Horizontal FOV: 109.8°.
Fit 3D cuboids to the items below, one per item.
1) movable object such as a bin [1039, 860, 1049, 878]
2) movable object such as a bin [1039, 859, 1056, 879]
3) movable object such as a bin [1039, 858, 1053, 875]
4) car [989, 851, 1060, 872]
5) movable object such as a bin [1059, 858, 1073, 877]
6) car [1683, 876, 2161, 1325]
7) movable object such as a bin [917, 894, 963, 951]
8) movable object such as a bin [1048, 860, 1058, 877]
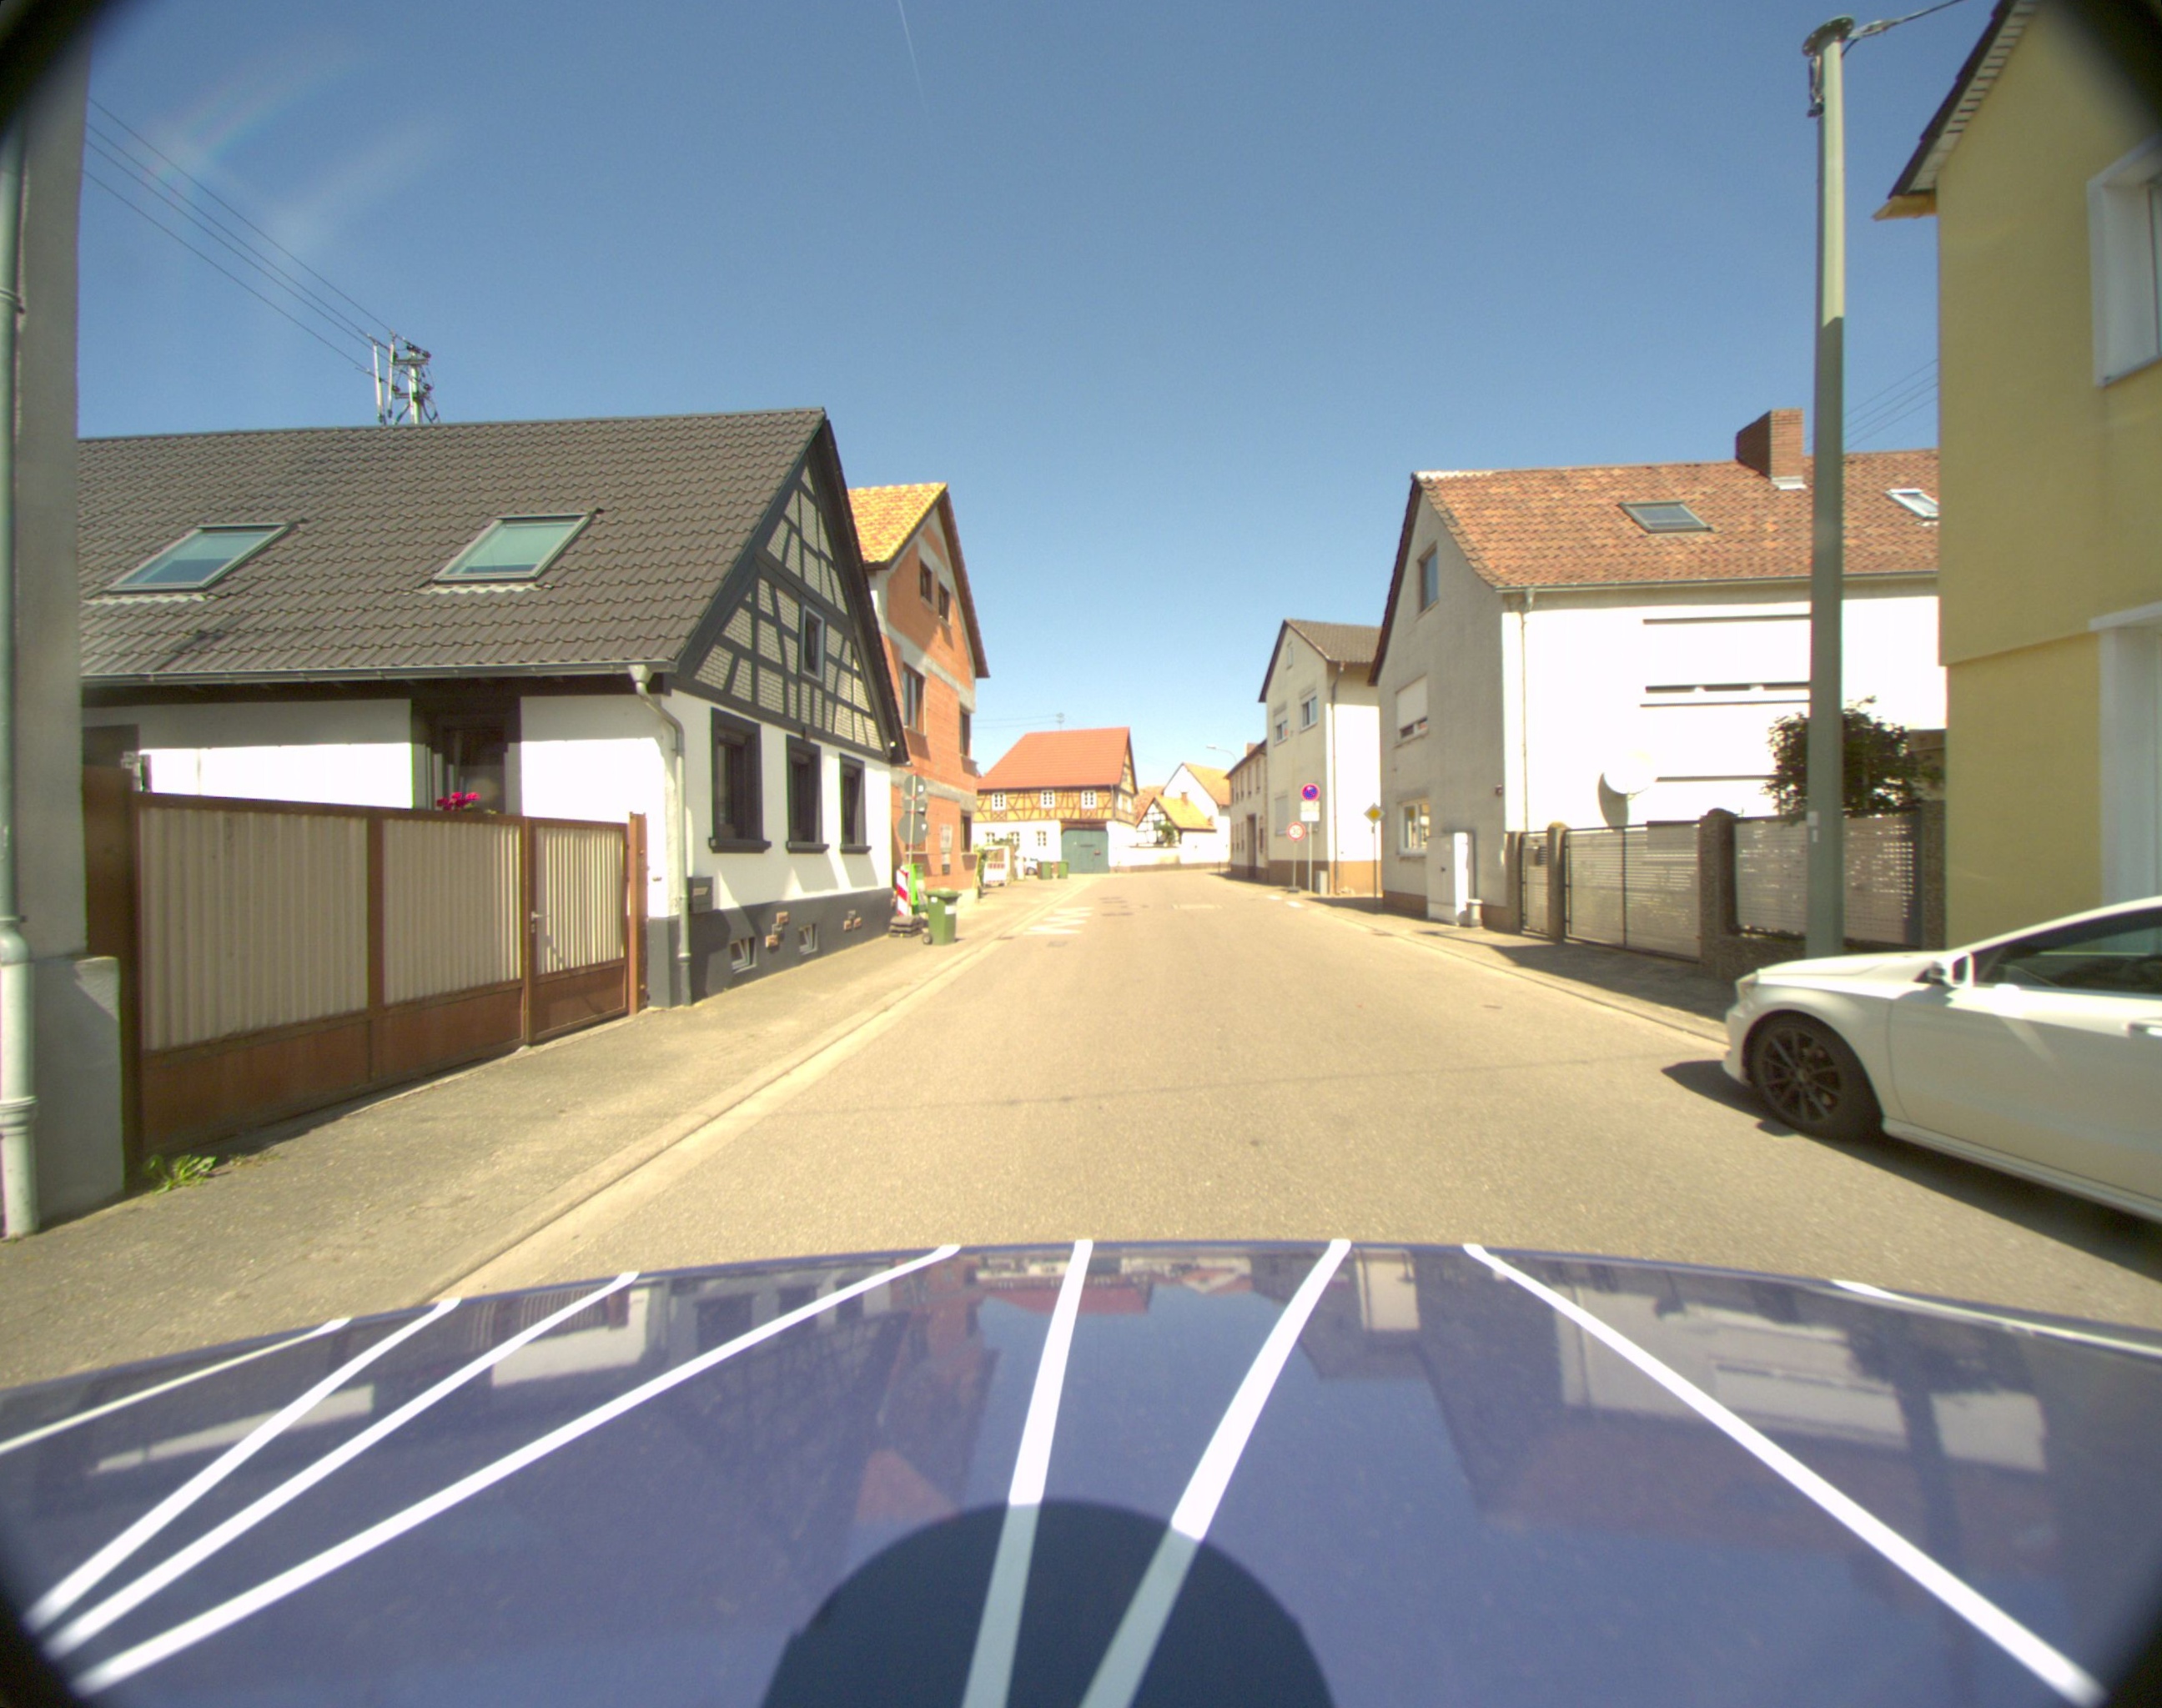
[{"bbox_3d":[-2.099,0.858,43.354,0.465,0.965,0.496,-1,1,12],"label":"movable object such as a bin"},{"bbox_3d":[-1.854,0.810,42.044,0.763,1.066,0.671,-1,1,-28],"label":"movable object such as a bin"},{"bbox_3d":[-2.124,0.762,46.466,0.721,1.075,0.756,-1,1,9],"label":"movable object such as a bin"},{"bbox_3d":[-4.119,0.534,55.392,4.758,1.443,2.002,0,1,16],"label":"car"},{"bbox_3d":[-0.881,0.766,44.170,0.687,1.086,0.638,-1,1,13],"label":"movable object such as a bin"},{"bbox_3d":[4.604,0.876,2.553,1.839,1.455,4.270,0,0,1],"label":"car"},{"bbox_3d":[-2.383,1.151,12.890,0.538,0.908,0.552,0,1,22],"label":"movable object such as a bin"},{"bbox_3d":[-1.602,0.846,43.359,0.445,0.944,0.463,-1,1,13],"label":"movable object such as a bin"}]
